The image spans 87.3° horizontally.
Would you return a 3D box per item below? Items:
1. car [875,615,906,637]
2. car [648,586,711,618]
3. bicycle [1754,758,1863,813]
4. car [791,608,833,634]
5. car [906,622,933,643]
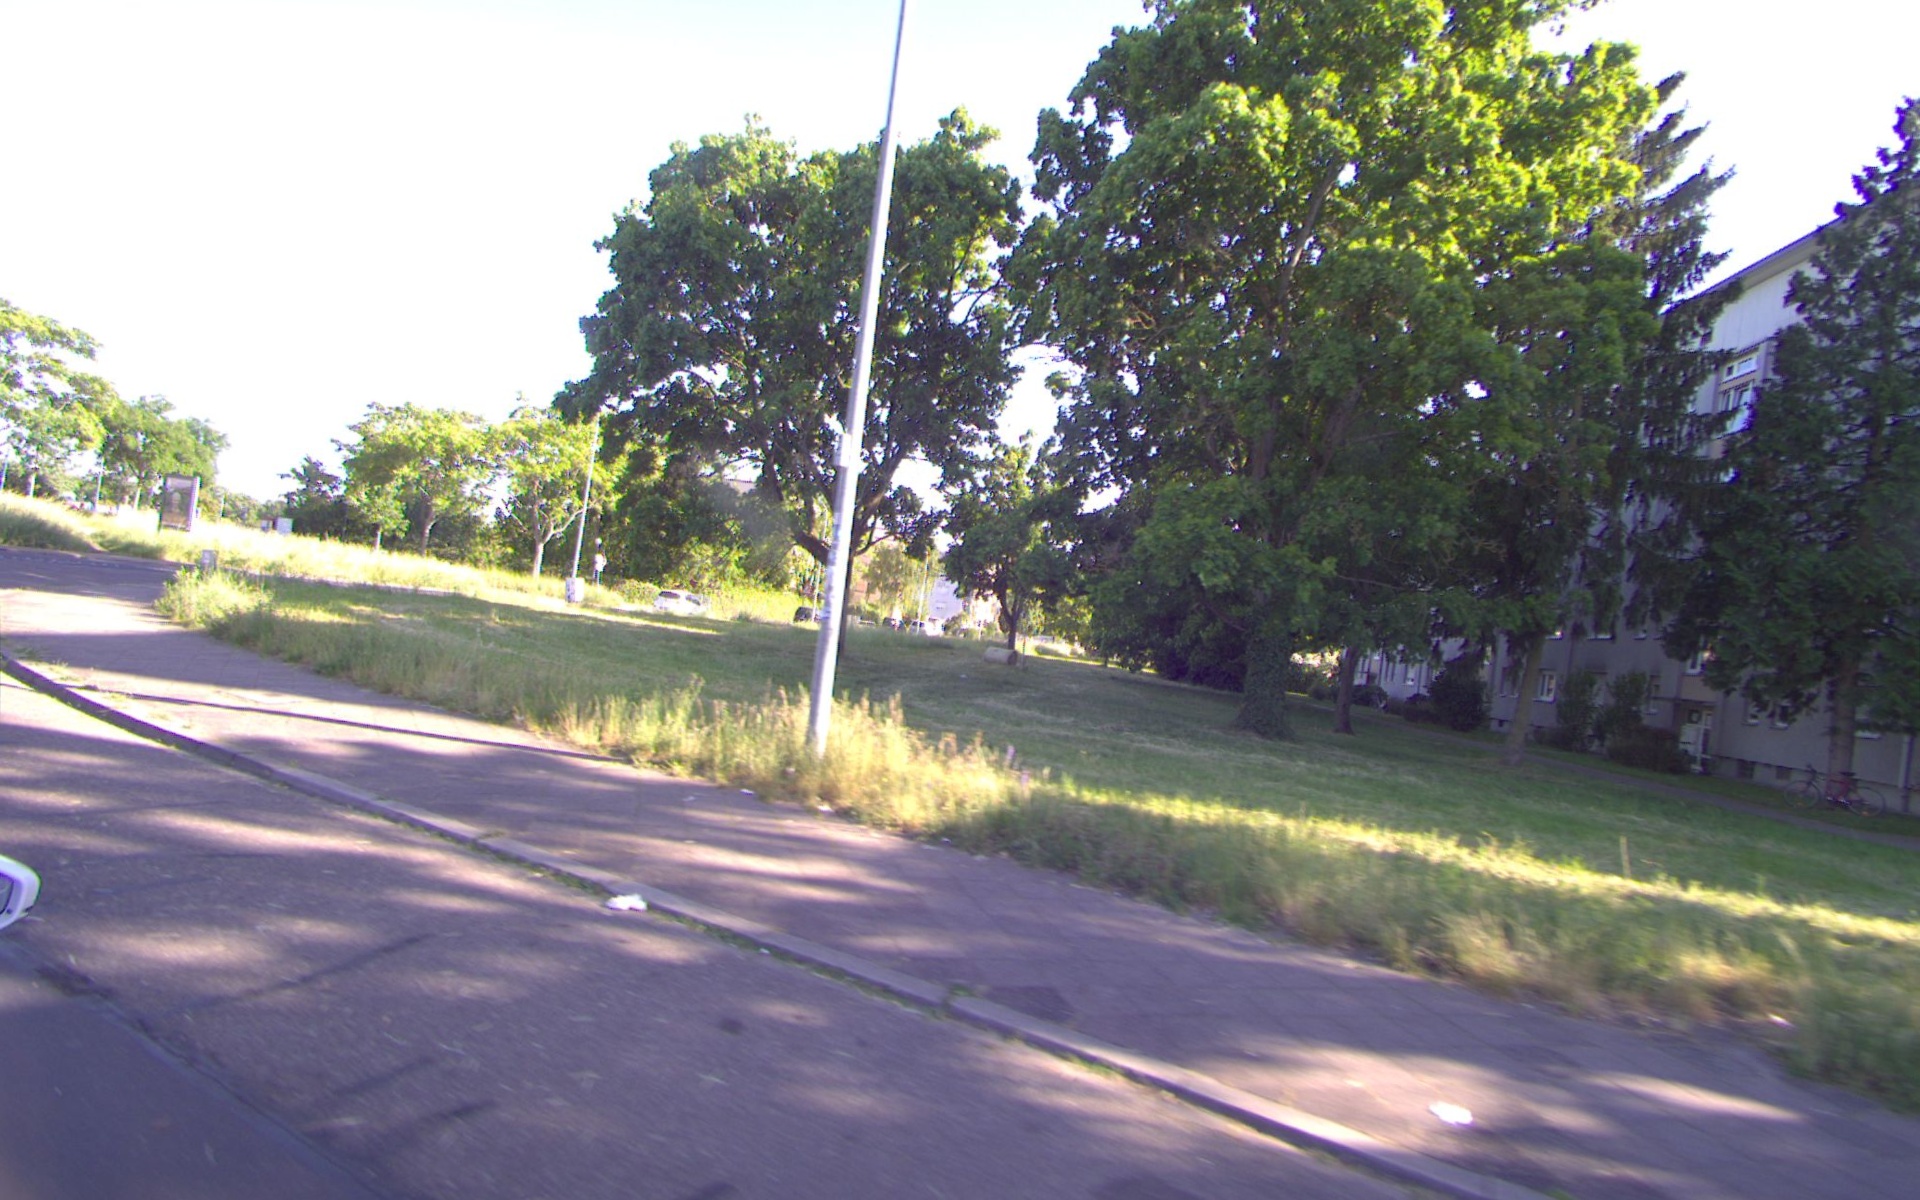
[{"bbox_3d":[-6.545,2.489,95.479,1.672,1.780,3.855,10,-1,12],"label":"car"},{"bbox_3d":[-15.012,0.102,53.963,1.694,1.498,3.740,6,1,9],"label":"car"},{"bbox_3d":[18.115,3.952,21.520,1.652,0.856,0.512,6,-3,32],"label":"bicycle"},{"bbox_3d":[-10.779,1.576,73.679,1.671,1.629,4.004,6,-2,11],"label":"car"},{"bbox_3d":[-4.251,3.405,105.274,1.672,1.873,3.855,10,-1,12],"label":"car"}]
